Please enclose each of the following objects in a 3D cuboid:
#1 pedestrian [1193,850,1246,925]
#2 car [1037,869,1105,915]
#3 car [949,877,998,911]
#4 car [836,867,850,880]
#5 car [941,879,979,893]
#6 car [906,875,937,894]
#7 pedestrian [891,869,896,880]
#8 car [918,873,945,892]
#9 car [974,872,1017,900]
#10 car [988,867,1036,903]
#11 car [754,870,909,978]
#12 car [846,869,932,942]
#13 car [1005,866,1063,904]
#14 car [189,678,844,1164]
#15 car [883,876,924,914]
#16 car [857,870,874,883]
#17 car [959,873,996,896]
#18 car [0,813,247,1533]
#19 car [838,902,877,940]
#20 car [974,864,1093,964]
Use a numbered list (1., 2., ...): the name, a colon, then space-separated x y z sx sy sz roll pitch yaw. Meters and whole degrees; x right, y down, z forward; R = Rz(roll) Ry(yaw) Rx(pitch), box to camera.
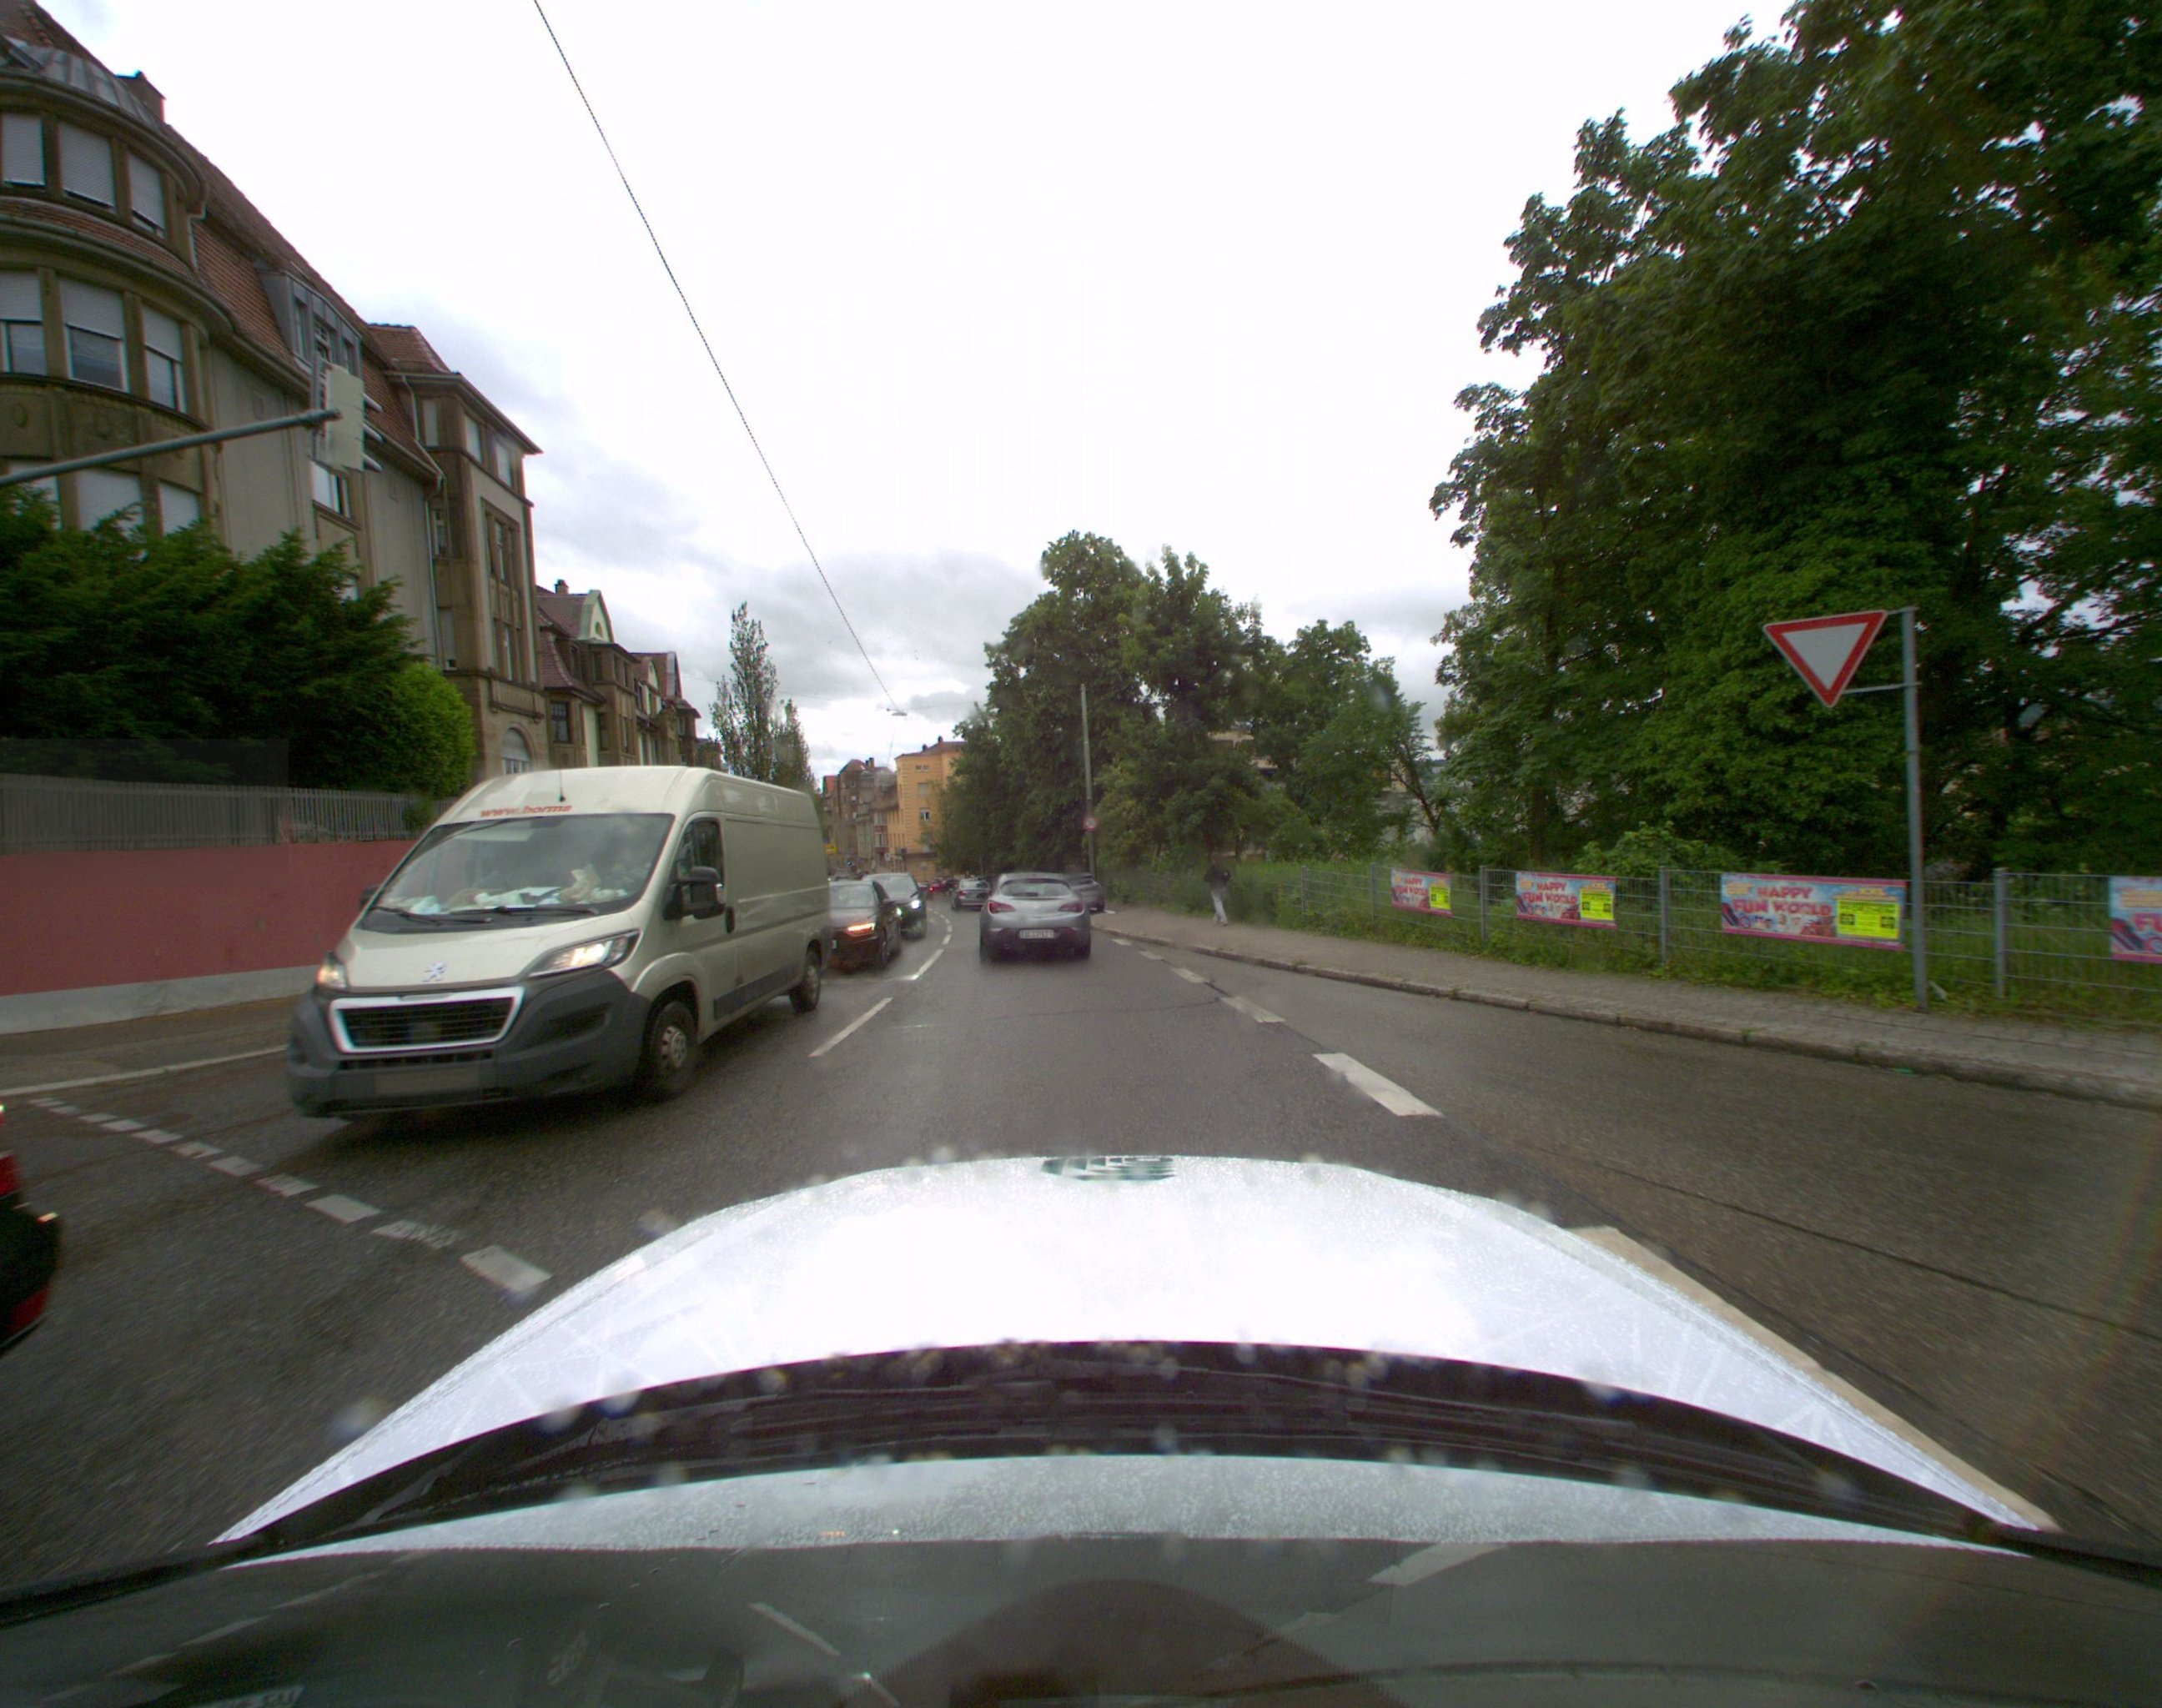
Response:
1. pedestrian: 3.153 0.747 18.613 0.766 1.605 0.962 -5 -1 -10
2. car: -0.427 1.360 29.572 1.651 1.404 3.797 -6 -1 -12
3. car: -5.044 1.837 37.719 1.779 1.430 3.765 -1 -2 -15
4. car: -37.690 3.061 128.951 1.787 1.855 3.974 -2 -2 -19
5. car: -13.282 3.540 89.174 3.788 1.430 1.768 1 -4 -22
6. car: -12.493 2.343 63.712 1.774 1.415 3.690 0 -1 -21
7. pedestrian: -25.502 2.799 110.665 0.615 1.496 0.549 -3 2 -19
8. car: -14.421 2.764 78.556 1.821 1.467 3.973 -8 0 -20
9. car: -5.864 2.159 55.132 1.981 1.609 4.458 -6 -1 -17
10. car: -3.889 1.683 45.170 1.824 1.683 4.780 -5 0 -14
11. car: -4.015 1.052 13.761 1.814 1.430 3.988 -4 -1 -8
12. car: -4.847 1.245 21.119 1.876 1.575 4.568 -3 -1 -11
13. car: -2.378 1.550 40.061 1.819 1.494 3.977 -8 0 -16
14. car: -3.889 0.388 7.245 2.113 2.545 5.532 -3 -1 -4
15. car: -8.101 1.833 37.351 1.656 1.568 3.984 -3 -1 -11
16. car: -33.416 3.457 125.991 2.001 1.688 3.972 -8 1 -20
17. car: -7.710 2.283 60.332 1.981 1.452 4.090 -6 -1 -17
18. car: -3.332 0.763 0.219 1.817 1.652 4.341 -2 0 -3
19. car: -9.972 2.967 36.517 1.384 1.412 3.442 -2 -1 -12
20. car: -0.952 0.962 14.773 1.813 1.430 3.991 -2 0 -6
